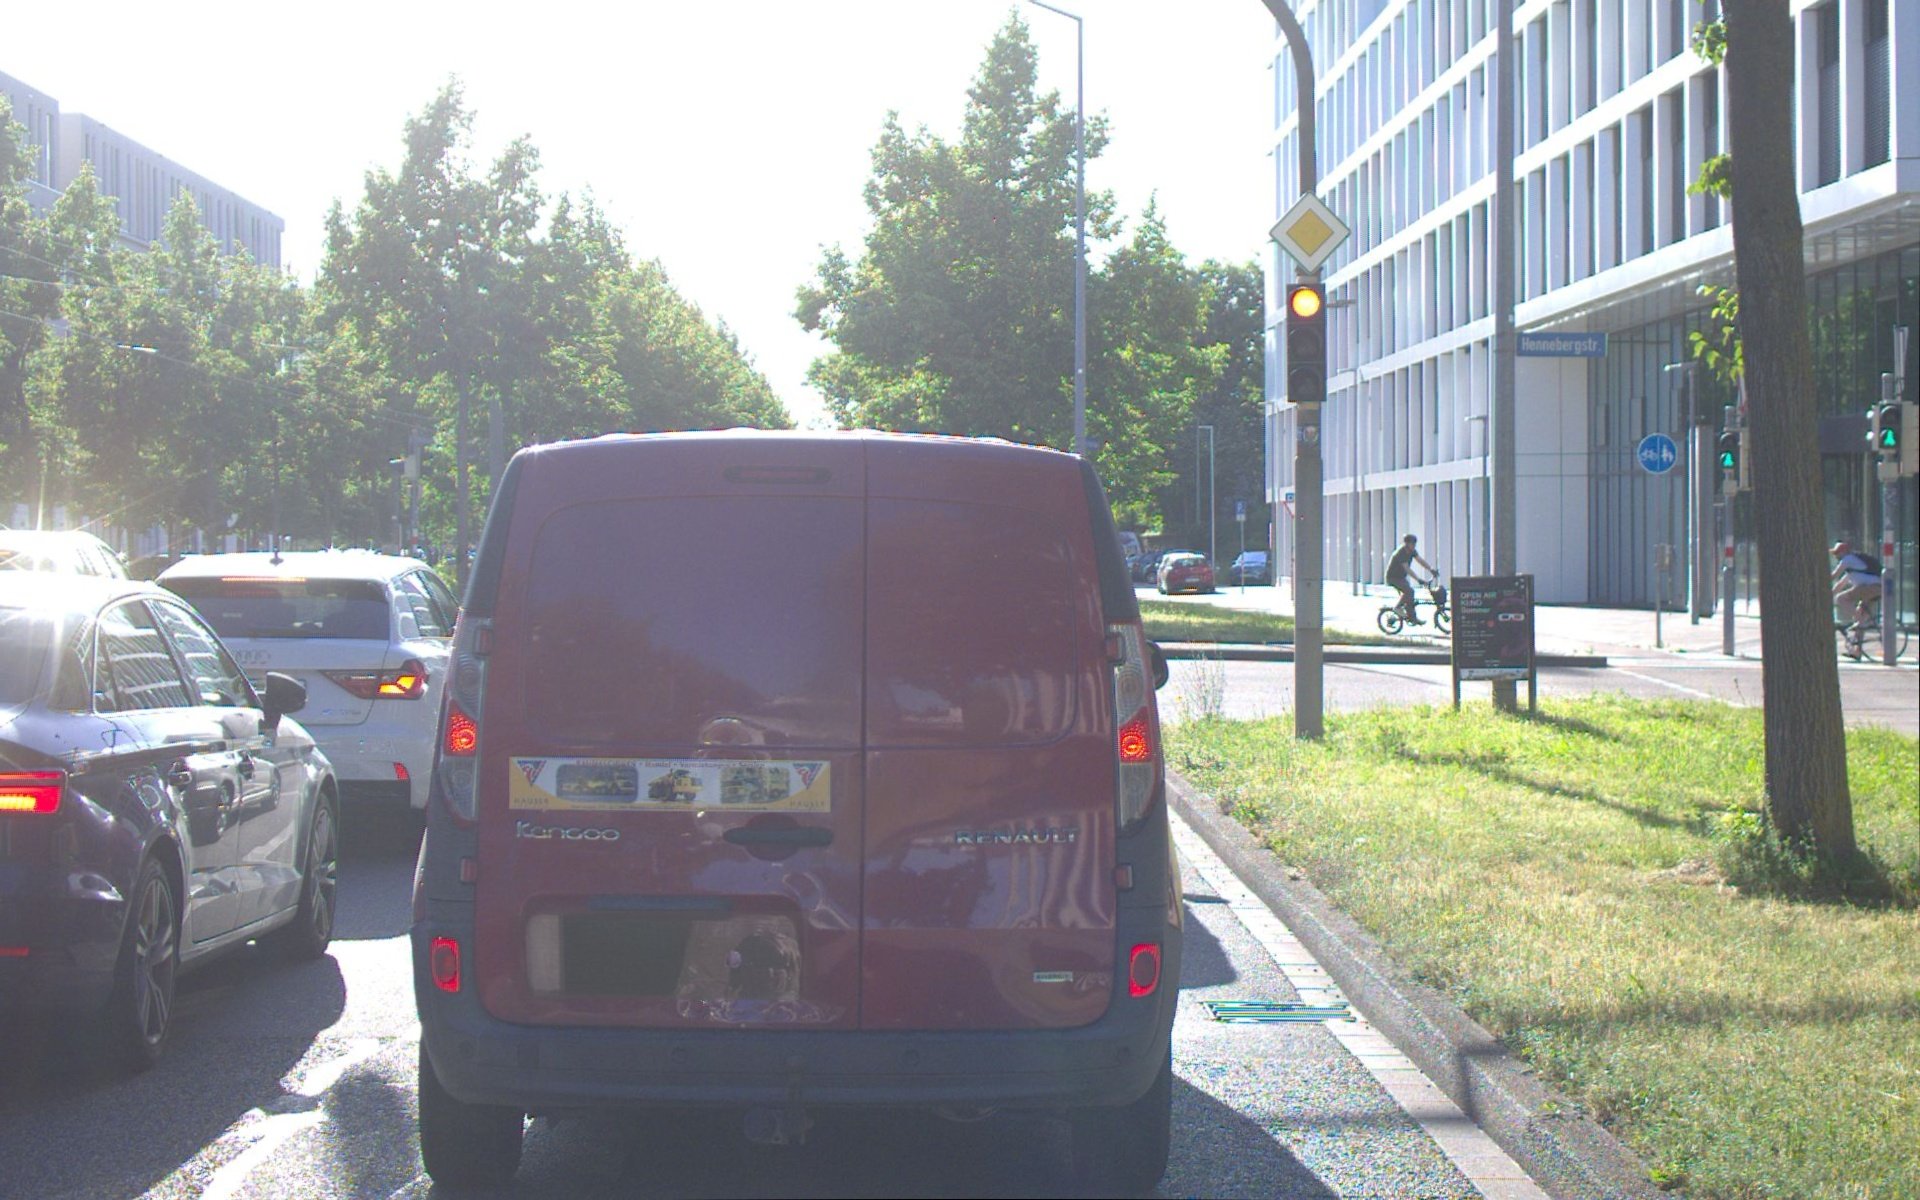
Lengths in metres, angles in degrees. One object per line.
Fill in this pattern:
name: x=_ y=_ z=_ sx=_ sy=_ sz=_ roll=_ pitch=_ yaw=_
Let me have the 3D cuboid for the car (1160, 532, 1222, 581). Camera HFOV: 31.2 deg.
car: x=8.579 y=-1.631 z=127.847 sx=1.993 sy=1.776 sz=4.000 roll=0 pitch=1 yaw=-1

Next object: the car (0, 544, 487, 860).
car: x=-3.567 y=0.431 z=17.585 sx=1.803 sy=1.421 sz=3.901 roll=0 pitch=1 yaw=-1

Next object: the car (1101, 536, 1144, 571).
car: x=8.485 y=-2.446 z=179.812 sx=1.993 sy=1.776 sz=4.000 roll=0 pitch=1 yaw=-1

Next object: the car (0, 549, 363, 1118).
car: x=-3.161 y=0.561 z=10.887 sx=1.842 sy=1.421 sz=4.339 roll=0 pitch=1 yaw=-1

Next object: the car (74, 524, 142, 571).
car: x=-36.979 y=-2.278 z=149.318 sx=1.993 sy=2.007 sz=4.000 roll=0 pitch=1 yaw=-1

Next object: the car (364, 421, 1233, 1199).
car: x=-0.369 y=0.472 z=9.305 sx=1.842 sy=1.774 sz=4.000 roll=0 pitch=1 yaw=-1

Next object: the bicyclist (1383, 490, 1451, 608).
bicyclist: x=8.174 y=-0.921 z=61.477 sx=0.941 sy=2.085 sz=0.816 roll=1 pitch=1 yaw=34

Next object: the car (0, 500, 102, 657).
car: x=-9.974 y=-0.233 z=33.449 sx=1.799 sy=1.442 sz=4.568 roll=-1 pitch=1 yaw=-32

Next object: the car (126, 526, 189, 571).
car: x=-36.967 y=-2.384 z=158.419 sx=1.993 sy=2.007 sz=4.000 roll=0 pitch=1 yaw=-1

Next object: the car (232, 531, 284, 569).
car: x=-37.228 y=-2.677 z=182.405 sx=1.993 sy=2.007 sz=4.000 roll=0 pitch=1 yaw=-1

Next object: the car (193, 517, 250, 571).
car: x=-36.135 y=-2.765 z=168.346 sx=1.993 sy=2.598 sz=4.000 roll=0 pitch=1 yaw=-1

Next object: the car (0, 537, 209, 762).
car: x=-6.678 y=0.291 z=24.934 sx=1.515 sy=1.487 sz=4.216 roll=0 pitch=1 yaw=0

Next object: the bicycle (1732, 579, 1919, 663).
bicycle: x=12.094 y=0.281 z=47.173 sx=2.840 sy=1.111 sz=0.820 roll=0 pitch=1 yaw=23

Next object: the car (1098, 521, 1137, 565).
car: x=9.070 y=-3.281 z=198.321 sx=1.993 sy=2.488 sz=4.987 roll=0 pitch=1 yaw=-1

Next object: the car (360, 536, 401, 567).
car: x=-37.549 y=-3.166 z=222.861 sx=1.993 sy=2.007 sz=4.000 roll=0 pitch=1 yaw=-1

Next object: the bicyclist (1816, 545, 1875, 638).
bicyclist: x=12.146 y=-0.123 z=47.139 sx=0.681 sy=1.270 sz=0.820 roll=0 pitch=1 yaw=22

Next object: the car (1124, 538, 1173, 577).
car: x=8.784 y=-2.011 z=160.614 sx=1.993 sy=1.776 sz=4.000 roll=0 pitch=1 yaw=-1

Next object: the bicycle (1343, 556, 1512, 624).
bicycle: x=8.332 y=-0.189 z=61.374 sx=2.948 sy=1.186 sz=0.816 roll=1 pitch=1 yaw=34

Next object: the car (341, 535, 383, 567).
car: x=-37.760 y=-3.107 z=217.237 sx=1.993 sy=2.007 sz=4.000 roll=0 pitch=1 yaw=-1

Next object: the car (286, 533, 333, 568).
car: x=-37.679 y=-2.892 z=199.219 sx=1.993 sy=2.007 sz=4.000 roll=0 pitch=1 yaw=-1
